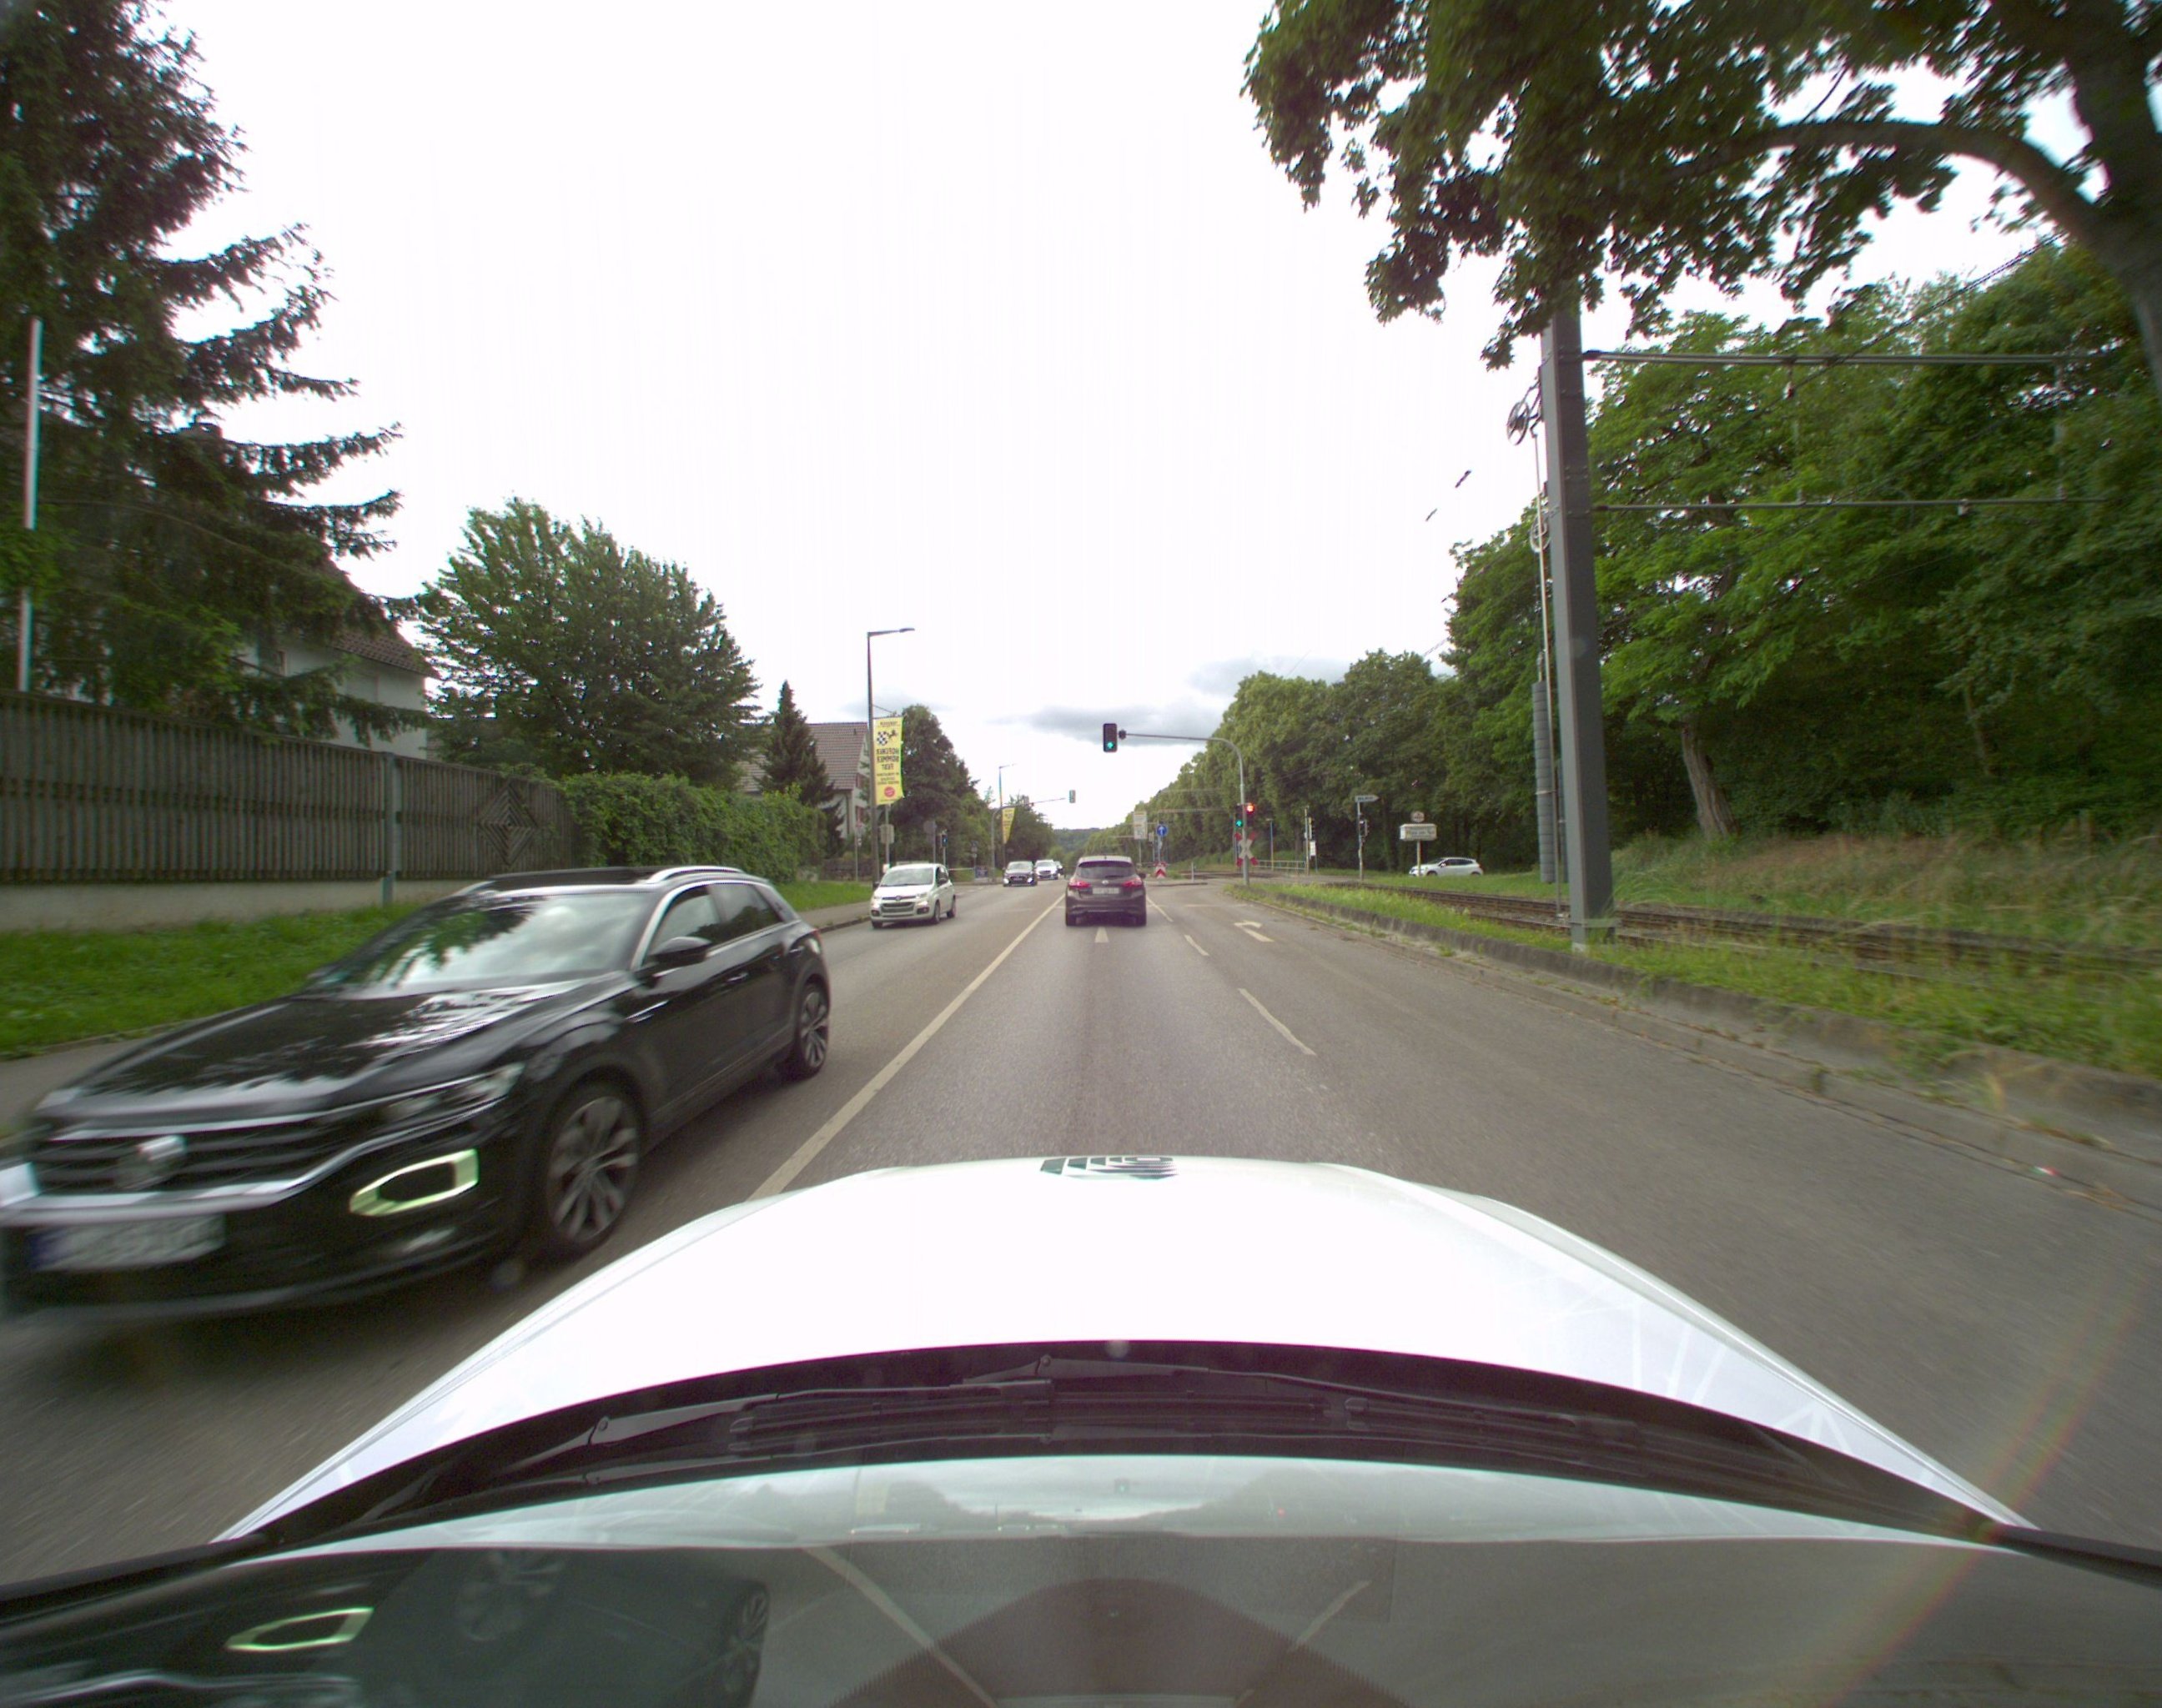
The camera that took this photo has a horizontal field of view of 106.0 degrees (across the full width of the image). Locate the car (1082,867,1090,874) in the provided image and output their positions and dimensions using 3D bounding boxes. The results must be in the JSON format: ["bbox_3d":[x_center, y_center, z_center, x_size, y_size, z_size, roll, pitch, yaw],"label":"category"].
[{"bbox_3d":[1.000,3.461,171.185,1.736,1.310,3.999,0,0,0],"label":"car"}]

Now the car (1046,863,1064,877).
[{"bbox_3d":[-2.989,1.899,93.906,1.895,1.574,4.481,0,-1,0],"label":"car"}]

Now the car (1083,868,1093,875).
[{"bbox_3d":[1.291,3.245,150.849,1.736,1.310,3.999,0,0,0],"label":"car"}]

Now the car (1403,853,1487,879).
[{"bbox_3d":[21.148,0.705,47.417,3.979,1.354,1.997,2,0,-4],"label":"car"}]

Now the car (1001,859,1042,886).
[{"bbox_3d":[-3.375,1.025,46.760,1.805,1.373,4.163,3,0,2],"label":"car"}]

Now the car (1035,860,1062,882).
[{"bbox_3d":[-2.454,1.232,61.834,1.813,1.567,5.204,0,0,0],"label":"car"}]

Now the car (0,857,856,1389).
[{"bbox_3d":[-2.817,0.833,4.555,1.806,1.524,4.178,-3,0,1],"label":"car"}]

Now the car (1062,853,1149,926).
[{"bbox_3d":[0.587,0.735,19.227,1.828,1.519,4.485,0,0,2],"label":"car"}]

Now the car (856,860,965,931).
[{"bbox_3d":[-4.358,0.992,21.570,1.807,1.524,4.700,-3,0,0],"label":"car"}]

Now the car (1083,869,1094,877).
[{"bbox_3d":[1.226,3.095,133.940,1.736,1.310,3.999,0,0,0],"label":"car"}]

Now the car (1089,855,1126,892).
[{"bbox_3d":[1.174,0.832,36.381,1.533,1.478,3.766,-2,0,2],"label":"car"}]
